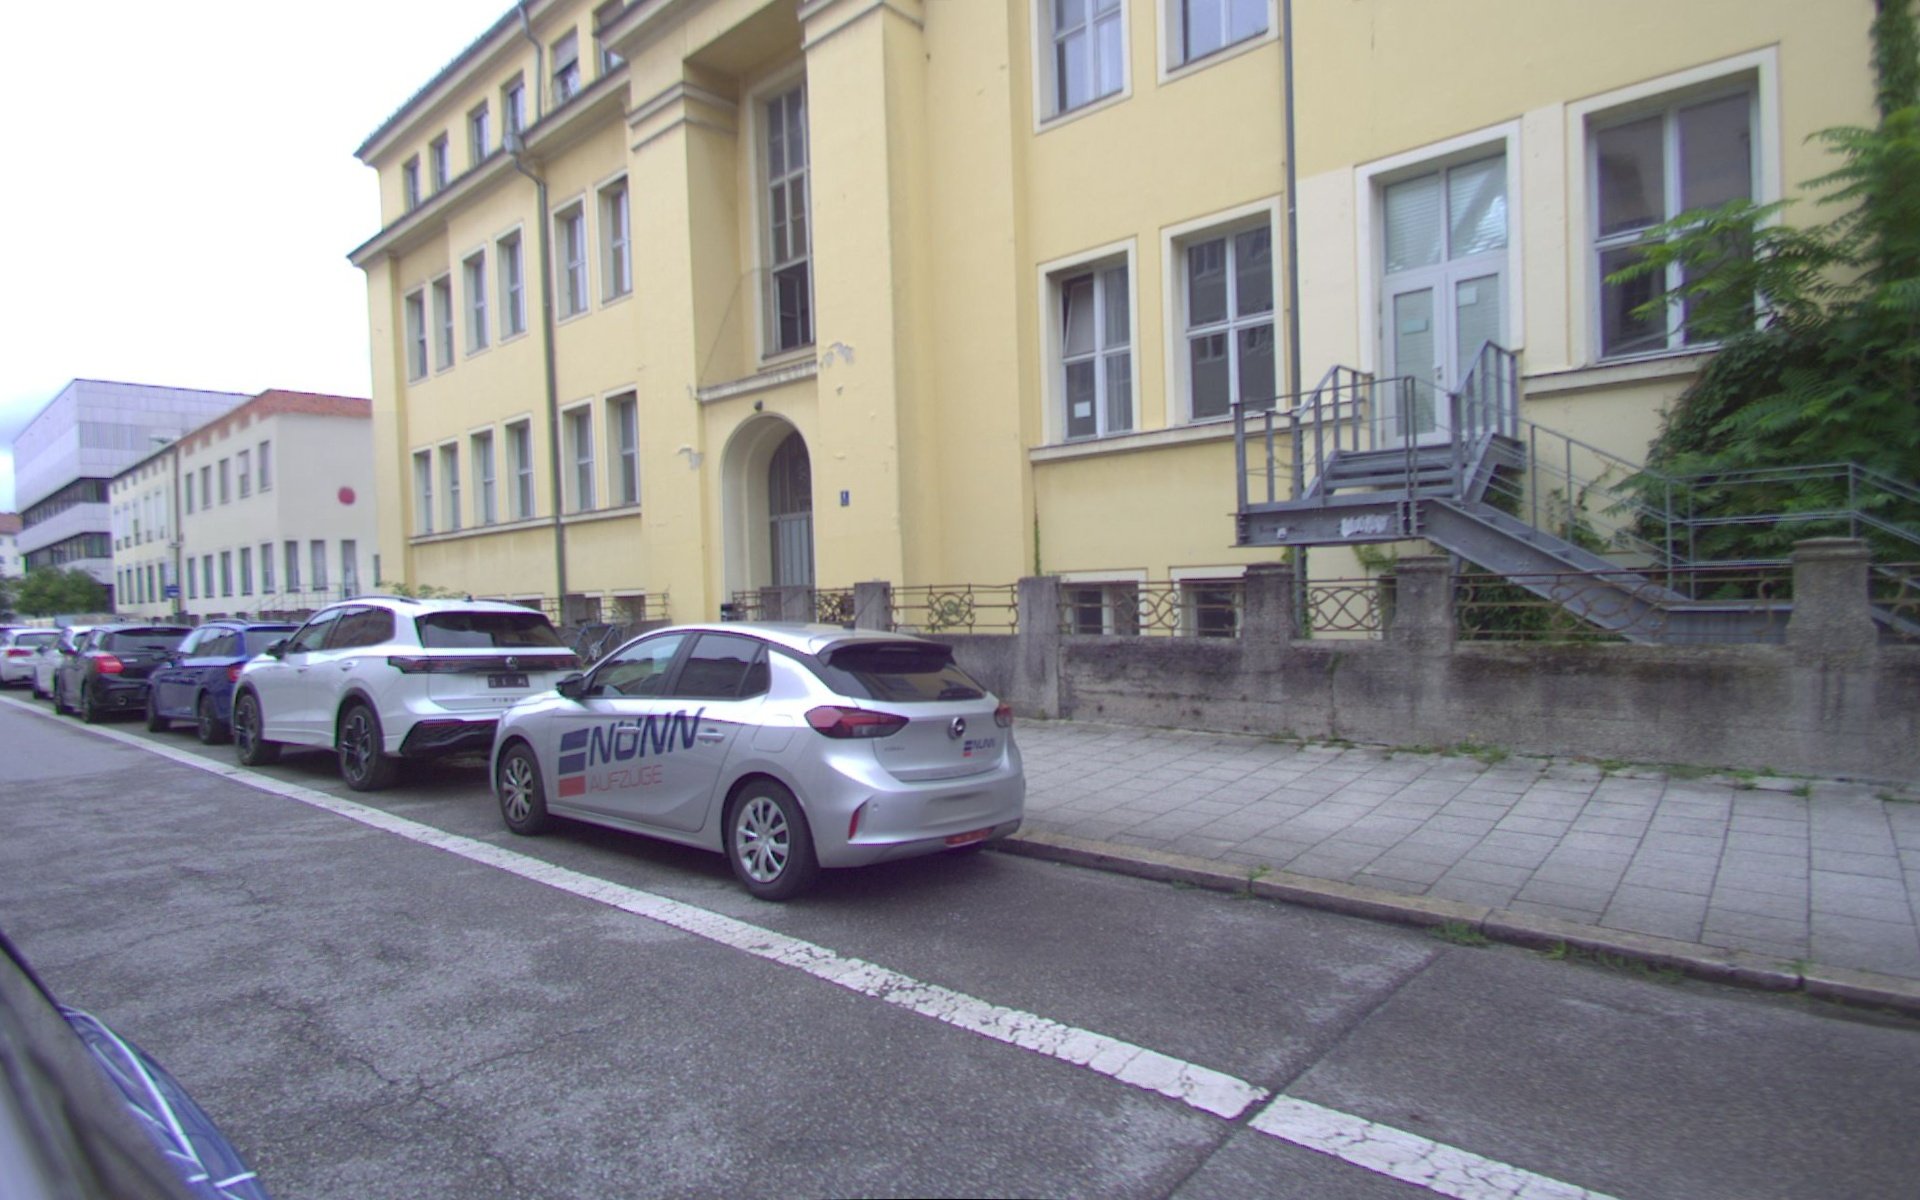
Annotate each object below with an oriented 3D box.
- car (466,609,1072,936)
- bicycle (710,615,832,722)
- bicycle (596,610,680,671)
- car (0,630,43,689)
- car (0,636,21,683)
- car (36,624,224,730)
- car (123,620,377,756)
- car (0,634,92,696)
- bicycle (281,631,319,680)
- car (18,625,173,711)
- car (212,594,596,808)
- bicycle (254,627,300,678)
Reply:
[{"bbox_3d":[-1.379,0.843,6.384,3.891,1.437,1.663,-2,-4,40],"label":"car"},{"bbox_3d":[-2.359,0.816,12.523,1.561,1.197,0.571,-2,3,42],"label":"bicycle"},{"bbox_3d":[-6.356,0.789,20.058,0.438,1.059,1.541,-2,2,39],"label":"bicycle"},{"bbox_3d":[-27.172,1.652,28.268,3.992,1.578,1.658,-2,-3,39],"label":"car"},{"bbox_3d":[-30.822,1.835,31.480,3.983,1.416,1.659,-2,-3,37],"label":"car"},{"bbox_3d":[-13.434,1.153,16.309,3.983,1.507,1.662,-2,-3,41],"label":"car"},{"bbox_3d":[-9.347,1.056,13.217,3.968,1.516,1.663,-2,-3,39],"label":"car"},{"bbox_3d":[-22.869,1.542,24.819,3.992,1.408,1.658,-2,-3,39],"label":"car"},{"bbox_3d":[-16.051,1.329,24.597,0.578,1.085,1.721,-5,2,-37],"label":"bicycle"},{"bbox_3d":[-17.206,1.301,20.084,4.084,1.539,1.705,-2,-4,41],"label":"car"},{"bbox_3d":[-5.504,0.854,9.797,4.351,1.646,1.664,-2,-3,38],"label":"car"},{"bbox_3d":[-17.436,1.327,25.820,1.717,1.206,0.579,-2,2,44],"label":"bicycle"}]
